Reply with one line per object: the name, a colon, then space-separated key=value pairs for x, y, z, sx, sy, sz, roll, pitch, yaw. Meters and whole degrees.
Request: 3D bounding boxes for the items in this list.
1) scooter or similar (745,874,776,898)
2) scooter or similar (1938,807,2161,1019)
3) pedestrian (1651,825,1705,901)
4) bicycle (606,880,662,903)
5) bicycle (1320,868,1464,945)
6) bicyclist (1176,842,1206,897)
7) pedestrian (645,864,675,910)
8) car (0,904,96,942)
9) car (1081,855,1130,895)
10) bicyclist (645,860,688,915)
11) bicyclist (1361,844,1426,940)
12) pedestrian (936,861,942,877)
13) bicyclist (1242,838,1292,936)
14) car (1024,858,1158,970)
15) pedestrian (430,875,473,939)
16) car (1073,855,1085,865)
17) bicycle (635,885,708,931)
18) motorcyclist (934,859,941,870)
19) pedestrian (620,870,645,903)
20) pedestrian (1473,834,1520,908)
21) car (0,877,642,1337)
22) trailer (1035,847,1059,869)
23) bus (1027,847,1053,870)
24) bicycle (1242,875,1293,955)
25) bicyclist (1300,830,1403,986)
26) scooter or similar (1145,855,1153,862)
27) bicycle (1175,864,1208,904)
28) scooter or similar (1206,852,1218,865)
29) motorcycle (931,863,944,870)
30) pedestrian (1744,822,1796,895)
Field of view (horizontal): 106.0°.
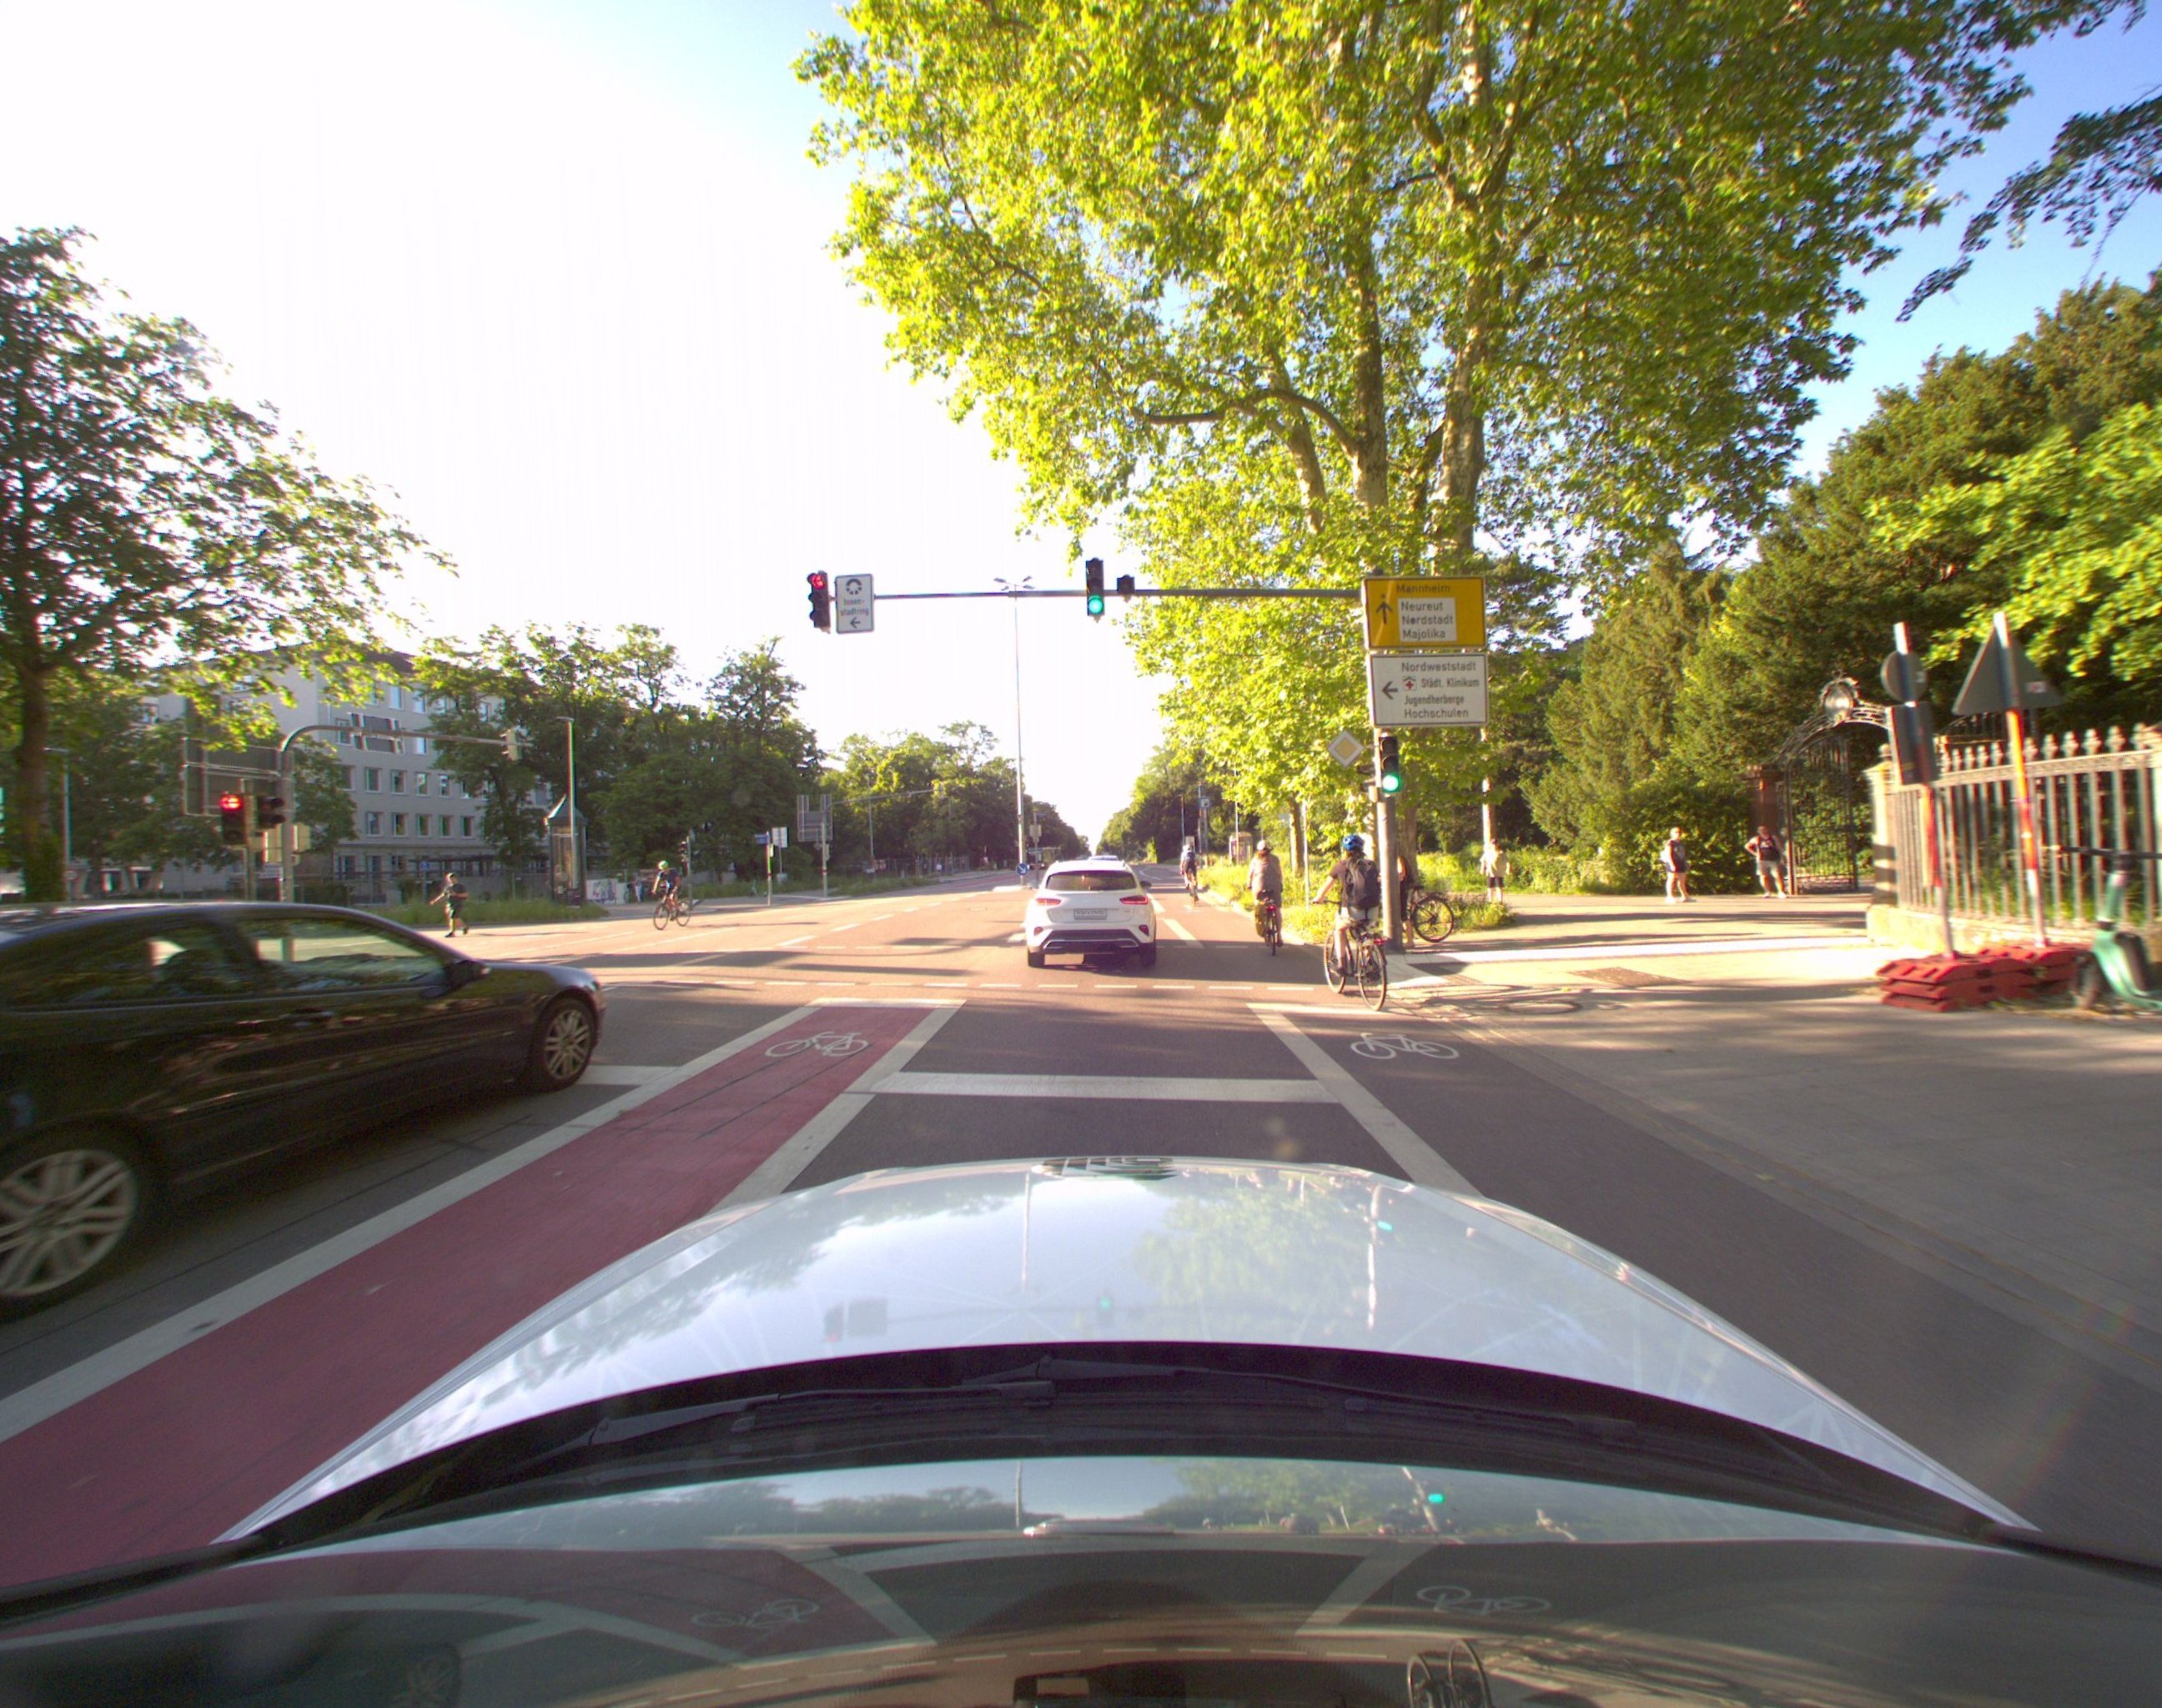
scooter or similar: x=-18.330 y=1.811 z=46.627 sx=0.686 sy=1.294 sz=1.505 roll=-3 pitch=0 yaw=31
scooter or similar: x=7.005 y=0.350 z=5.314 sx=0.789 sy=1.255 sz=1.837 roll=-6 pitch=0 yaw=2
pedestrian: x=13.220 y=0.197 z=18.056 sx=0.685 sy=1.633 sz=0.682 roll=-3 pitch=-1 yaw=10
bicycle: x=-24.542 y=2.054 z=44.766 sx=2.557 sy=1.136 sz=0.982 roll=-3 pitch=0 yaw=6
bicycle: x=4.875 y=0.827 z=12.880 sx=1.973 sy=1.095 sz=0.697 roll=-3 pitch=0 yaw=8
bicyclist: x=3.240 y=0.450 z=24.043 sx=0.855 sy=1.567 sz=0.883 roll=-1 pitch=0 yaw=6
pedestrian: x=-17.411 y=1.353 z=33.708 sx=0.738 sy=1.816 sz=0.728 roll=-3 pitch=-1 yaw=10
car: x=-49.660 y=3.261 z=38.495 sx=4.219 sy=1.539 sz=2.074 roll=-3 pitch=0 yaw=9
car: x=1.004 y=0.786 z=32.158 sx=1.668 sy=1.417 sz=3.578 roll=-3 pitch=0 yaw=5
bicyclist: x=-11.389 y=0.911 z=22.388 sx=0.692 sy=1.466 sz=0.759 roll=-3 pitch=-1 yaw=5
bicyclist: x=4.925 y=0.594 z=12.880 sx=0.760 sy=1.447 sz=0.697 roll=-3 pitch=-1 yaw=8
pedestrian: x=-14.037 y=1.451 z=80.277 sx=0.450 sy=1.534 sz=0.571 roll=-3 pitch=-1 yaw=-2
bicyclist: x=2.955 y=0.509 z=12.956 sx=0.688 sy=1.490 sz=0.803 roll=-3 pitch=-1 yaw=12
car: x=0.069 y=0.805 z=12.672 sx=1.757 sy=1.459 sz=3.814 roll=0 pitch=0 yaw=-2
pedestrian: x=-18.687 y=1.571 z=24.180 sx=0.685 sy=1.816 sz=0.682 roll=-3 pitch=0 yaw=10
car: x=-0.290 y=0.979 z=133.330 sx=1.703 sy=1.421 sz=4.559 roll=-2 pitch=1 yaw=3
bicycle: x=-11.343 y=1.476 z=22.650 sx=0.692 sy=1.117 sz=2.193 roll=-3 pitch=0 yaw=6
motorcyclist: x=-30.499 y=2.263 z=173.122 sx=1.022 sy=2.182 sz=1.110 roll=-2 pitch=-1 yaw=-44
pedestrian: x=-24.393 y=1.765 z=44.295 sx=0.972 sy=1.696 sz=0.644 roll=-3 pitch=-1 yaw=6
pedestrian: x=9.056 y=0.362 z=17.765 sx=0.685 sy=1.546 sz=0.682 roll=-3 pitch=-1 yaw=10
car: x=-4.345 y=0.884 z=4.086 sx=1.711 sy=1.418 sz=4.529 roll=-1 pitch=0 yaw=2
trailer: x=-5.470 y=0.668 z=131.630 sx=2.842 sy=3.355 sz=9.372 roll=0 pitch=-1 yaw=4
bus: x=-6.057 y=0.636 z=122.597 sx=2.828 sy=3.196 sz=8.607 roll=-3 pitch=0 yaw=3
bicycle: x=2.997 y=0.939 z=13.096 sx=0.688 sy=1.095 sz=2.143 roll=-3 pitch=0 yaw=13
bicyclist: x=2.793 y=0.534 z=8.496 sx=0.691 sy=1.501 sz=0.892 roll=-3 pitch=0 yaw=-2
scooter or similar: x=13.638 y=0.869 z=163.251 sx=1.550 sy=1.250 sz=0.528 roll=-2 pitch=-1 yaw=-42
bicycle: x=3.267 y=0.873 z=24.181 sx=0.886 sy=1.095 sz=2.140 roll=-1 pitch=0 yaw=7
scooter or similar: x=12.763 y=0.452 z=79.347 sx=0.715 sy=1.247 sz=1.335 roll=-5 pitch=-2 yaw=25
motorcycle: x=-30.564 y=2.709 z=173.028 sx=1.120 sy=1.451 sz=2.521 roll=-3 pitch=-1 yaw=45
pedestrian: x=16.387 y=0.107 z=19.375 sx=0.685 sy=1.711 sz=0.682 roll=0 pitch=0 yaw=10
